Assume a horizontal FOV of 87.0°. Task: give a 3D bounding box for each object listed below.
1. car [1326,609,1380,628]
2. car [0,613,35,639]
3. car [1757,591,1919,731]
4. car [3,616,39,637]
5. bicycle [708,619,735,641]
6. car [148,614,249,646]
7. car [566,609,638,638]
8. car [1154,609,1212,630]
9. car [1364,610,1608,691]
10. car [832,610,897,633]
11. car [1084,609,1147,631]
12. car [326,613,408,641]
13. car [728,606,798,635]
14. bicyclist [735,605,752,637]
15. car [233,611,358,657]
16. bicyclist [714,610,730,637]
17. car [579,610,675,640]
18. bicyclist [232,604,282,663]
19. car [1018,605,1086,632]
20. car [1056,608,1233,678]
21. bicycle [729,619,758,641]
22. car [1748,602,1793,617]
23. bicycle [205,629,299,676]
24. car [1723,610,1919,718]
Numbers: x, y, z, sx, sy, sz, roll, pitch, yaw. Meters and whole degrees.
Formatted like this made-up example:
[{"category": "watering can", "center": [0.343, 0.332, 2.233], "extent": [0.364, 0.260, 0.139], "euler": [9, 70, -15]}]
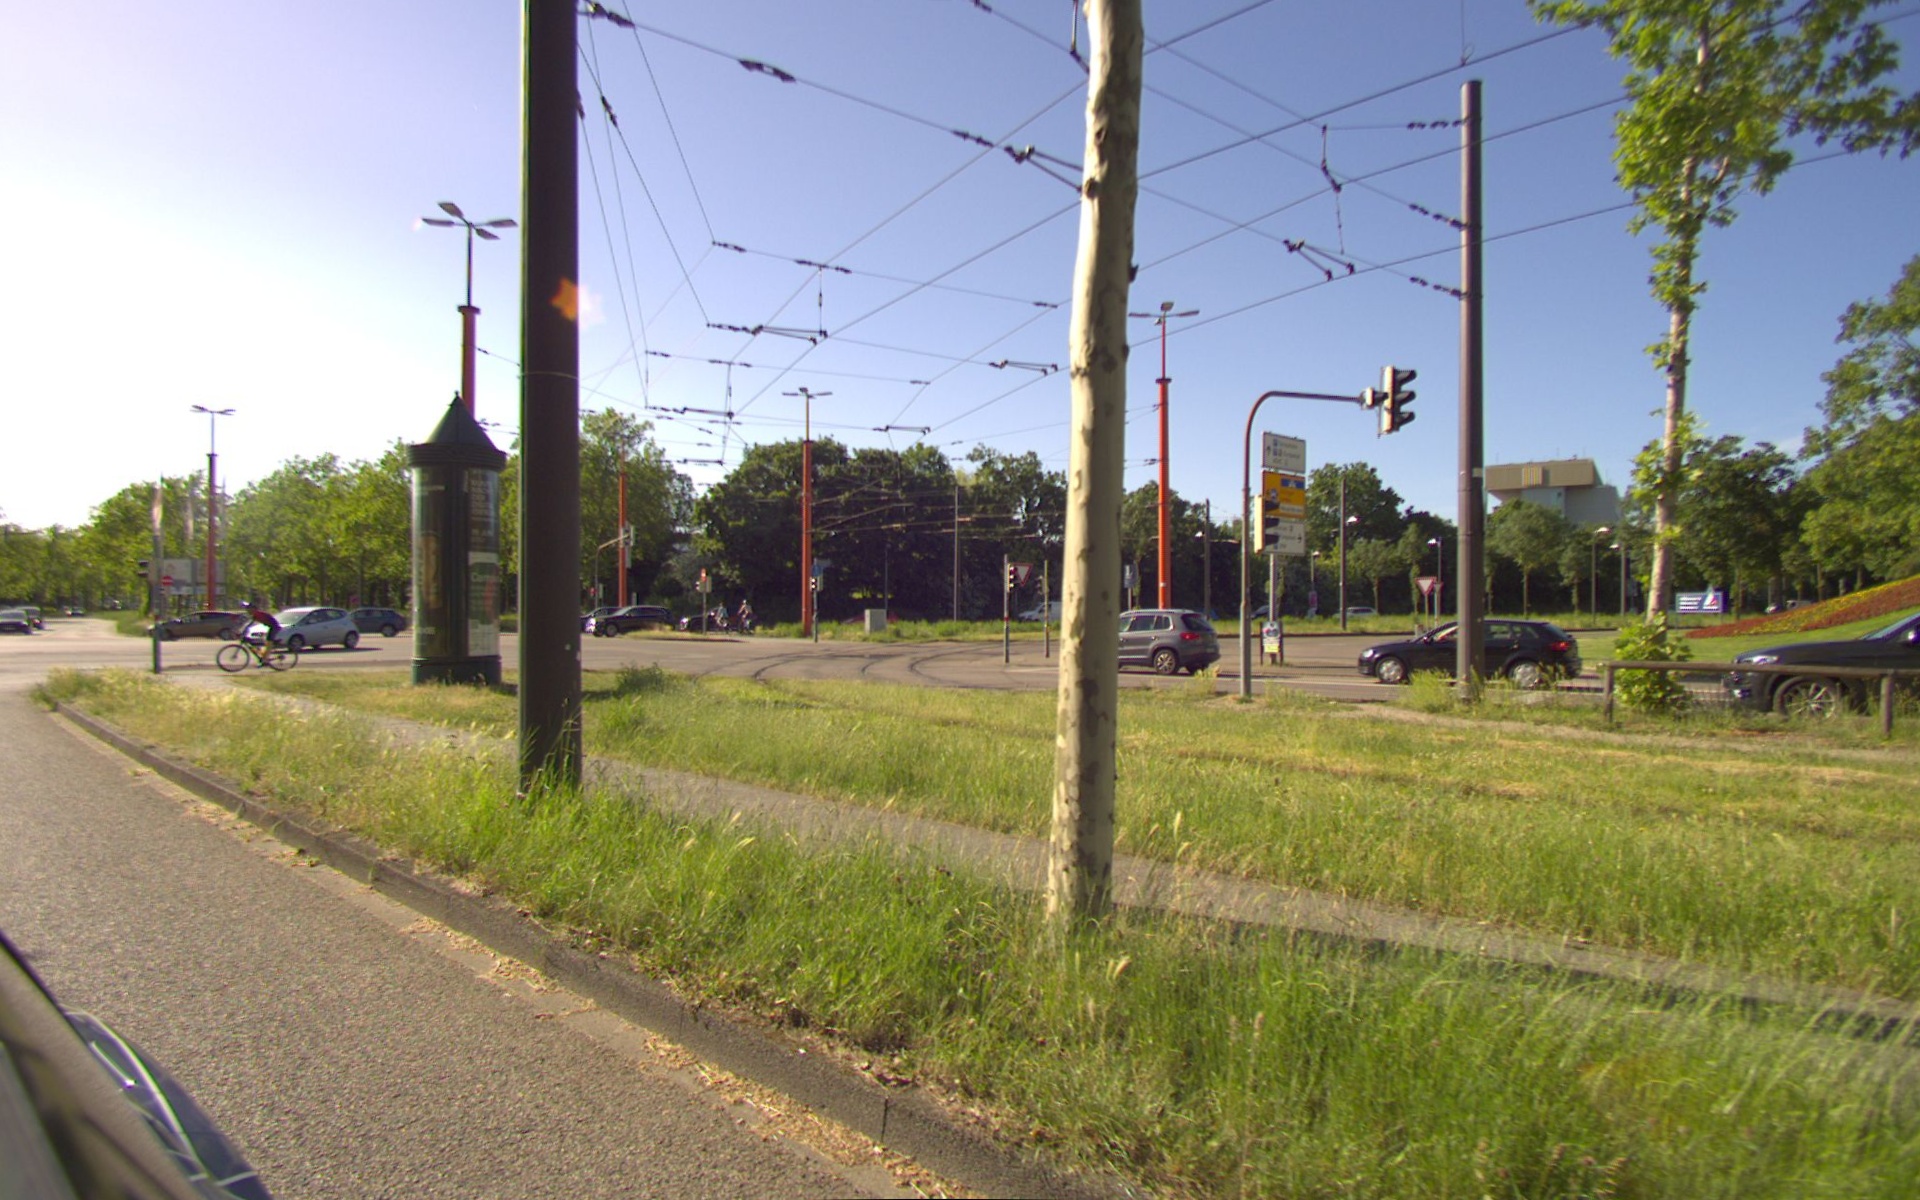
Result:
[{"category": "car", "center": [32.075, 1.538, 82.544], "extent": [3.930, 1.522, 1.806], "euler": [0, -2, -23]}, {"category": "car", "center": [-57.563, 1.560, 61.383], "extent": [1.771, 1.522, 4.008], "euler": [0, -1, -38]}, {"category": "car", "center": [12.205, 0.704, 12.003], "extent": [4.231, 1.629, 1.775], "euler": [-1, -1, 41]}, {"category": "car", "center": [-69.517, 1.961, 74.927], "extent": [1.772, 1.522, 4.006], "euler": [1, -1, -41]}, {"category": "bicycle", "center": [-12.617, 1.588, 53.593], "extent": [1.800, 1.116, 0.493], "euler": [-1, -1, 44]}, {"category": "car", "center": [-37.400, 1.440, 49.794], "extent": [3.720, 1.522, 1.619], "euler": [0, -2, -27]}, {"category": "car", "center": [-21.402, 1.389, 60.466], "extent": [3.930, 1.667, 1.806], "euler": [0, -2, -23]}, {"category": "car", "center": [16.836, 1.485, 76.506], "extent": [3.930, 1.522, 1.806], "euler": [0, -2, -23]}, {"category": "car", "center": [10.895, 0.986, 21.132], "extent": [4.263, 1.522, 1.776], "euler": [-1, -1, 39]}, {"category": "car", "center": [-6.301, 1.408, 67.001], "extent": [3.930, 1.522, 1.806], "euler": [0, -2, -23]}, {"category": "car", "center": [10.837, 1.410, 70.504], "extent": [3.930, 1.522, 1.806], "euler": [0, -2, -23]}, {"category": "car", "center": [-32.735, 1.475, 55.981], "extent": [3.720, 1.518, 1.619], "euler": [0, -2, -23]}, {"category": "car", "center": [-11.888, 1.231, 60.944], "extent": [3.931, 1.667, 1.806], "euler": [0, -1, -19]}, {"category": "bicyclist", "center": [-11.539, 1.128, 53.907], "extent": [0.715, 1.664, 0.554], "euler": [-1, -1, 43]}, {"category": "car", "center": [-24.777, 1.253, 37.902], "extent": [1.687, 1.600, 3.891], "euler": [-1, -1, 11]}, {"category": "bicyclist", "center": [-12.618, 1.237, 53.597], "extent": [0.778, 1.458, 0.493], "euler": [-1, -1, 43]}, {"category": "car", "center": [-17.746, 1.294, 54.079], "extent": [4.551, 1.522, 1.794], "euler": [0, -1, -37]}, {"category": "bicyclist", "center": [-18.067, 0.855, 26.016], "extent": [0.940, 1.489, 0.705], "euler": [0, -1, -25]}, {"category": "car", "center": [6.589, 1.305, 72.224], "extent": [4.478, 1.849, 1.806], "euler": [0, -2, -23]}, {"category": "car", "center": [4.757, 1.062, 26.425], "extent": [4.265, 1.691, 1.775], "euler": [-1, -1, 41]}, {"category": "bicycle", "center": [-11.538, 1.582, 53.901], "extent": [1.800, 1.116, 0.554], "euler": [-1, -1, 44]}, {"category": "car", "center": [81.895, 0.955, 102.239], "extent": [3.930, 1.522, 1.806], "euler": [0, -2, -23]}, {"category": "bicycle", "center": [-18.139, 1.331, 25.978], "extent": [1.868, 1.116, 0.705], "euler": [0, -1, -25]}, {"category": "car", "center": [13.980, 0.905, 14.903], "extent": [4.265, 1.522, 1.775], "euler": [-1, -1, 41]}]
